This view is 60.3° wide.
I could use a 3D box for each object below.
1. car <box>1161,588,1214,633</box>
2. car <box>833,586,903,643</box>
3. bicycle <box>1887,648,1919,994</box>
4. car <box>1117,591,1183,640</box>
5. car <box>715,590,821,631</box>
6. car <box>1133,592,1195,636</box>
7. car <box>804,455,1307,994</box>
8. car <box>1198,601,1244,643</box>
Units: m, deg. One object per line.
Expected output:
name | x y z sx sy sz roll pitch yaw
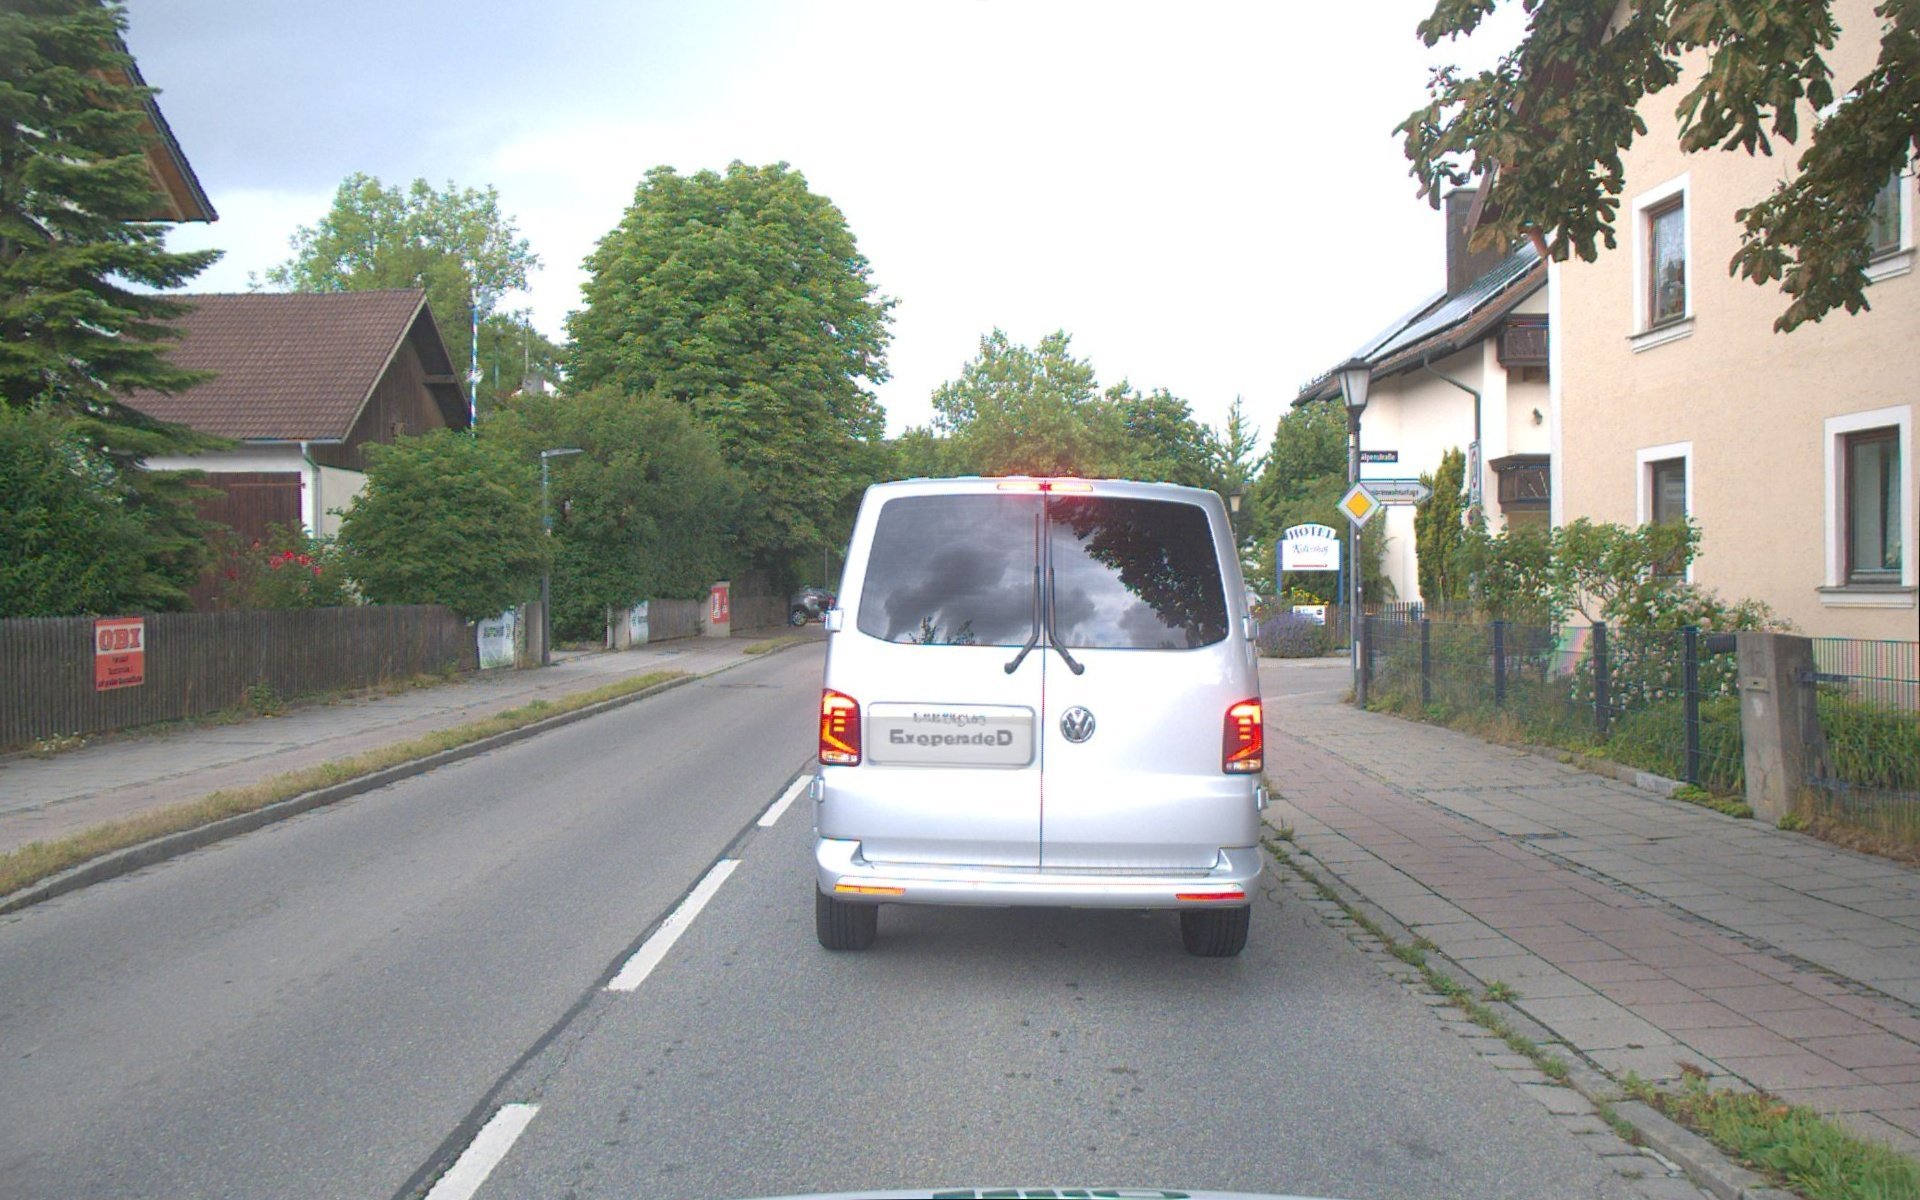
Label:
car | 9.357 0.414 67.849 1.841 1.779 4.084 0 0 12
car | -2.716 0.401 49.688 1.891 1.602 4.311 1 0 -1
bicycle | 3.613 0.755 4.881 0.749 1.163 1.845 0 0 1
car | 6.335 0.486 54.924 1.841 1.562 3.924 0 0 11
car | -7.289 0.403 62.549 3.912 1.512 1.996 0 0 -9
car | 7.535 0.487 60.868 1.841 1.562 3.924 0 0 13
car | 0.365 0.448 8.036 1.842 1.974 3.921 0 0 0
car | 12.088 0.973 76.394 1.841 1.857 3.924 0 0 13
